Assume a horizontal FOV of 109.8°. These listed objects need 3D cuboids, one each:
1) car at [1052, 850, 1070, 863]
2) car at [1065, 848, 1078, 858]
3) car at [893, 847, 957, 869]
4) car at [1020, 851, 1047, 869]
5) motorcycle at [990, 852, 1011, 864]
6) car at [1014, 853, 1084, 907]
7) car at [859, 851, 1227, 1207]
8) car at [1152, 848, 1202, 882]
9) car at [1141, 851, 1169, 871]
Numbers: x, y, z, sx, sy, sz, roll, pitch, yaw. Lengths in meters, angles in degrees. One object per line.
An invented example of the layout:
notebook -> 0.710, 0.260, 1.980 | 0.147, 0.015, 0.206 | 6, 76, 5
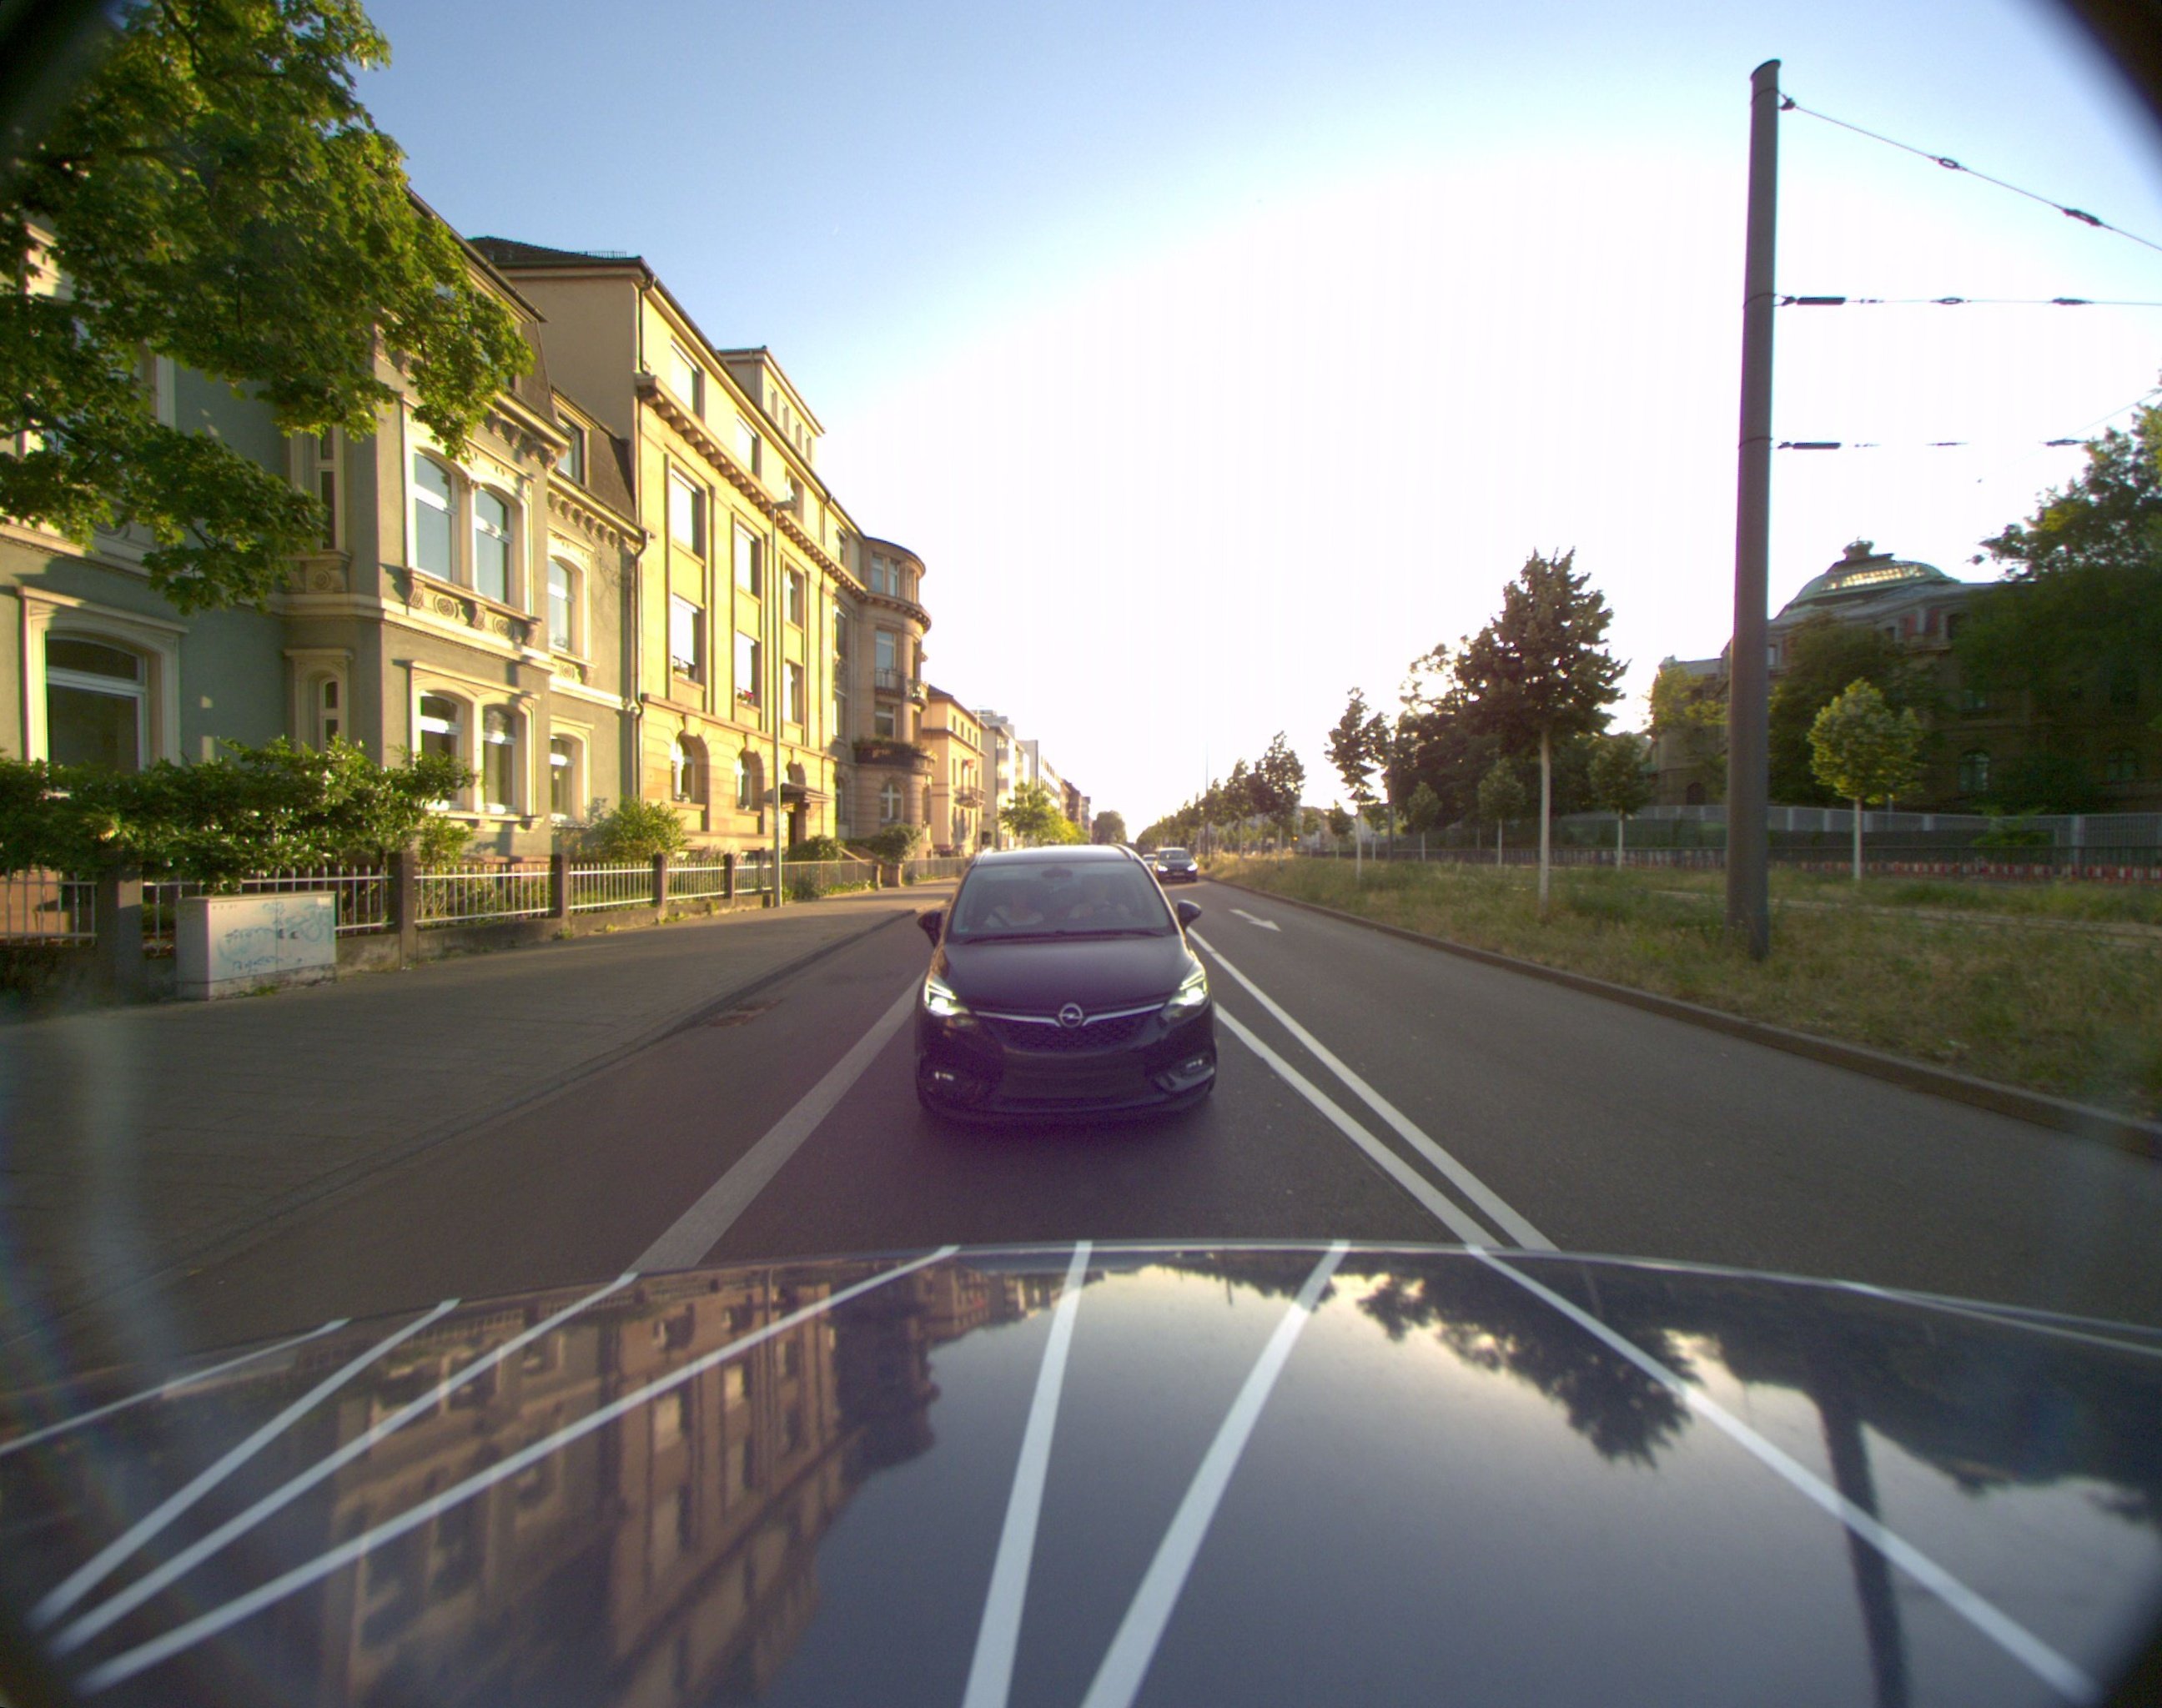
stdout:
car -> -2.403, 0.246, 91.979 | 1.937, 1.472, 4.100 | -1, 0, 1
car -> -1.457, -0.179, 121.656 | 1.937, 1.472, 4.100 | -1, 0, 1
car -> -11.016, 0.252, 53.935 | 4.096, 1.472, 1.938 | -1, 1, 3
car -> -3.859, 0.441, 62.796 | 1.882, 1.394, 4.100 | -1, 0, 1
motorcycle -> -7.469, 0.374, 70.264 | 1.848, 1.090, 0.576 | -1, 1, 8
car -> -0.910, 0.737, 23.189 | 1.859, 1.425, 4.843 | -2, -1, -1
car -> -0.306, 0.838, 6.128 | 1.771, 1.649, 4.850 | -1, 1, -3
car -> 4.351, 0.513, 35.095 | 1.859, 1.425, 4.844 | -2, -1, 2
car -> 5.776, 0.563, 59.714 | 1.859, 1.425, 4.844 | -2, -1, 2
